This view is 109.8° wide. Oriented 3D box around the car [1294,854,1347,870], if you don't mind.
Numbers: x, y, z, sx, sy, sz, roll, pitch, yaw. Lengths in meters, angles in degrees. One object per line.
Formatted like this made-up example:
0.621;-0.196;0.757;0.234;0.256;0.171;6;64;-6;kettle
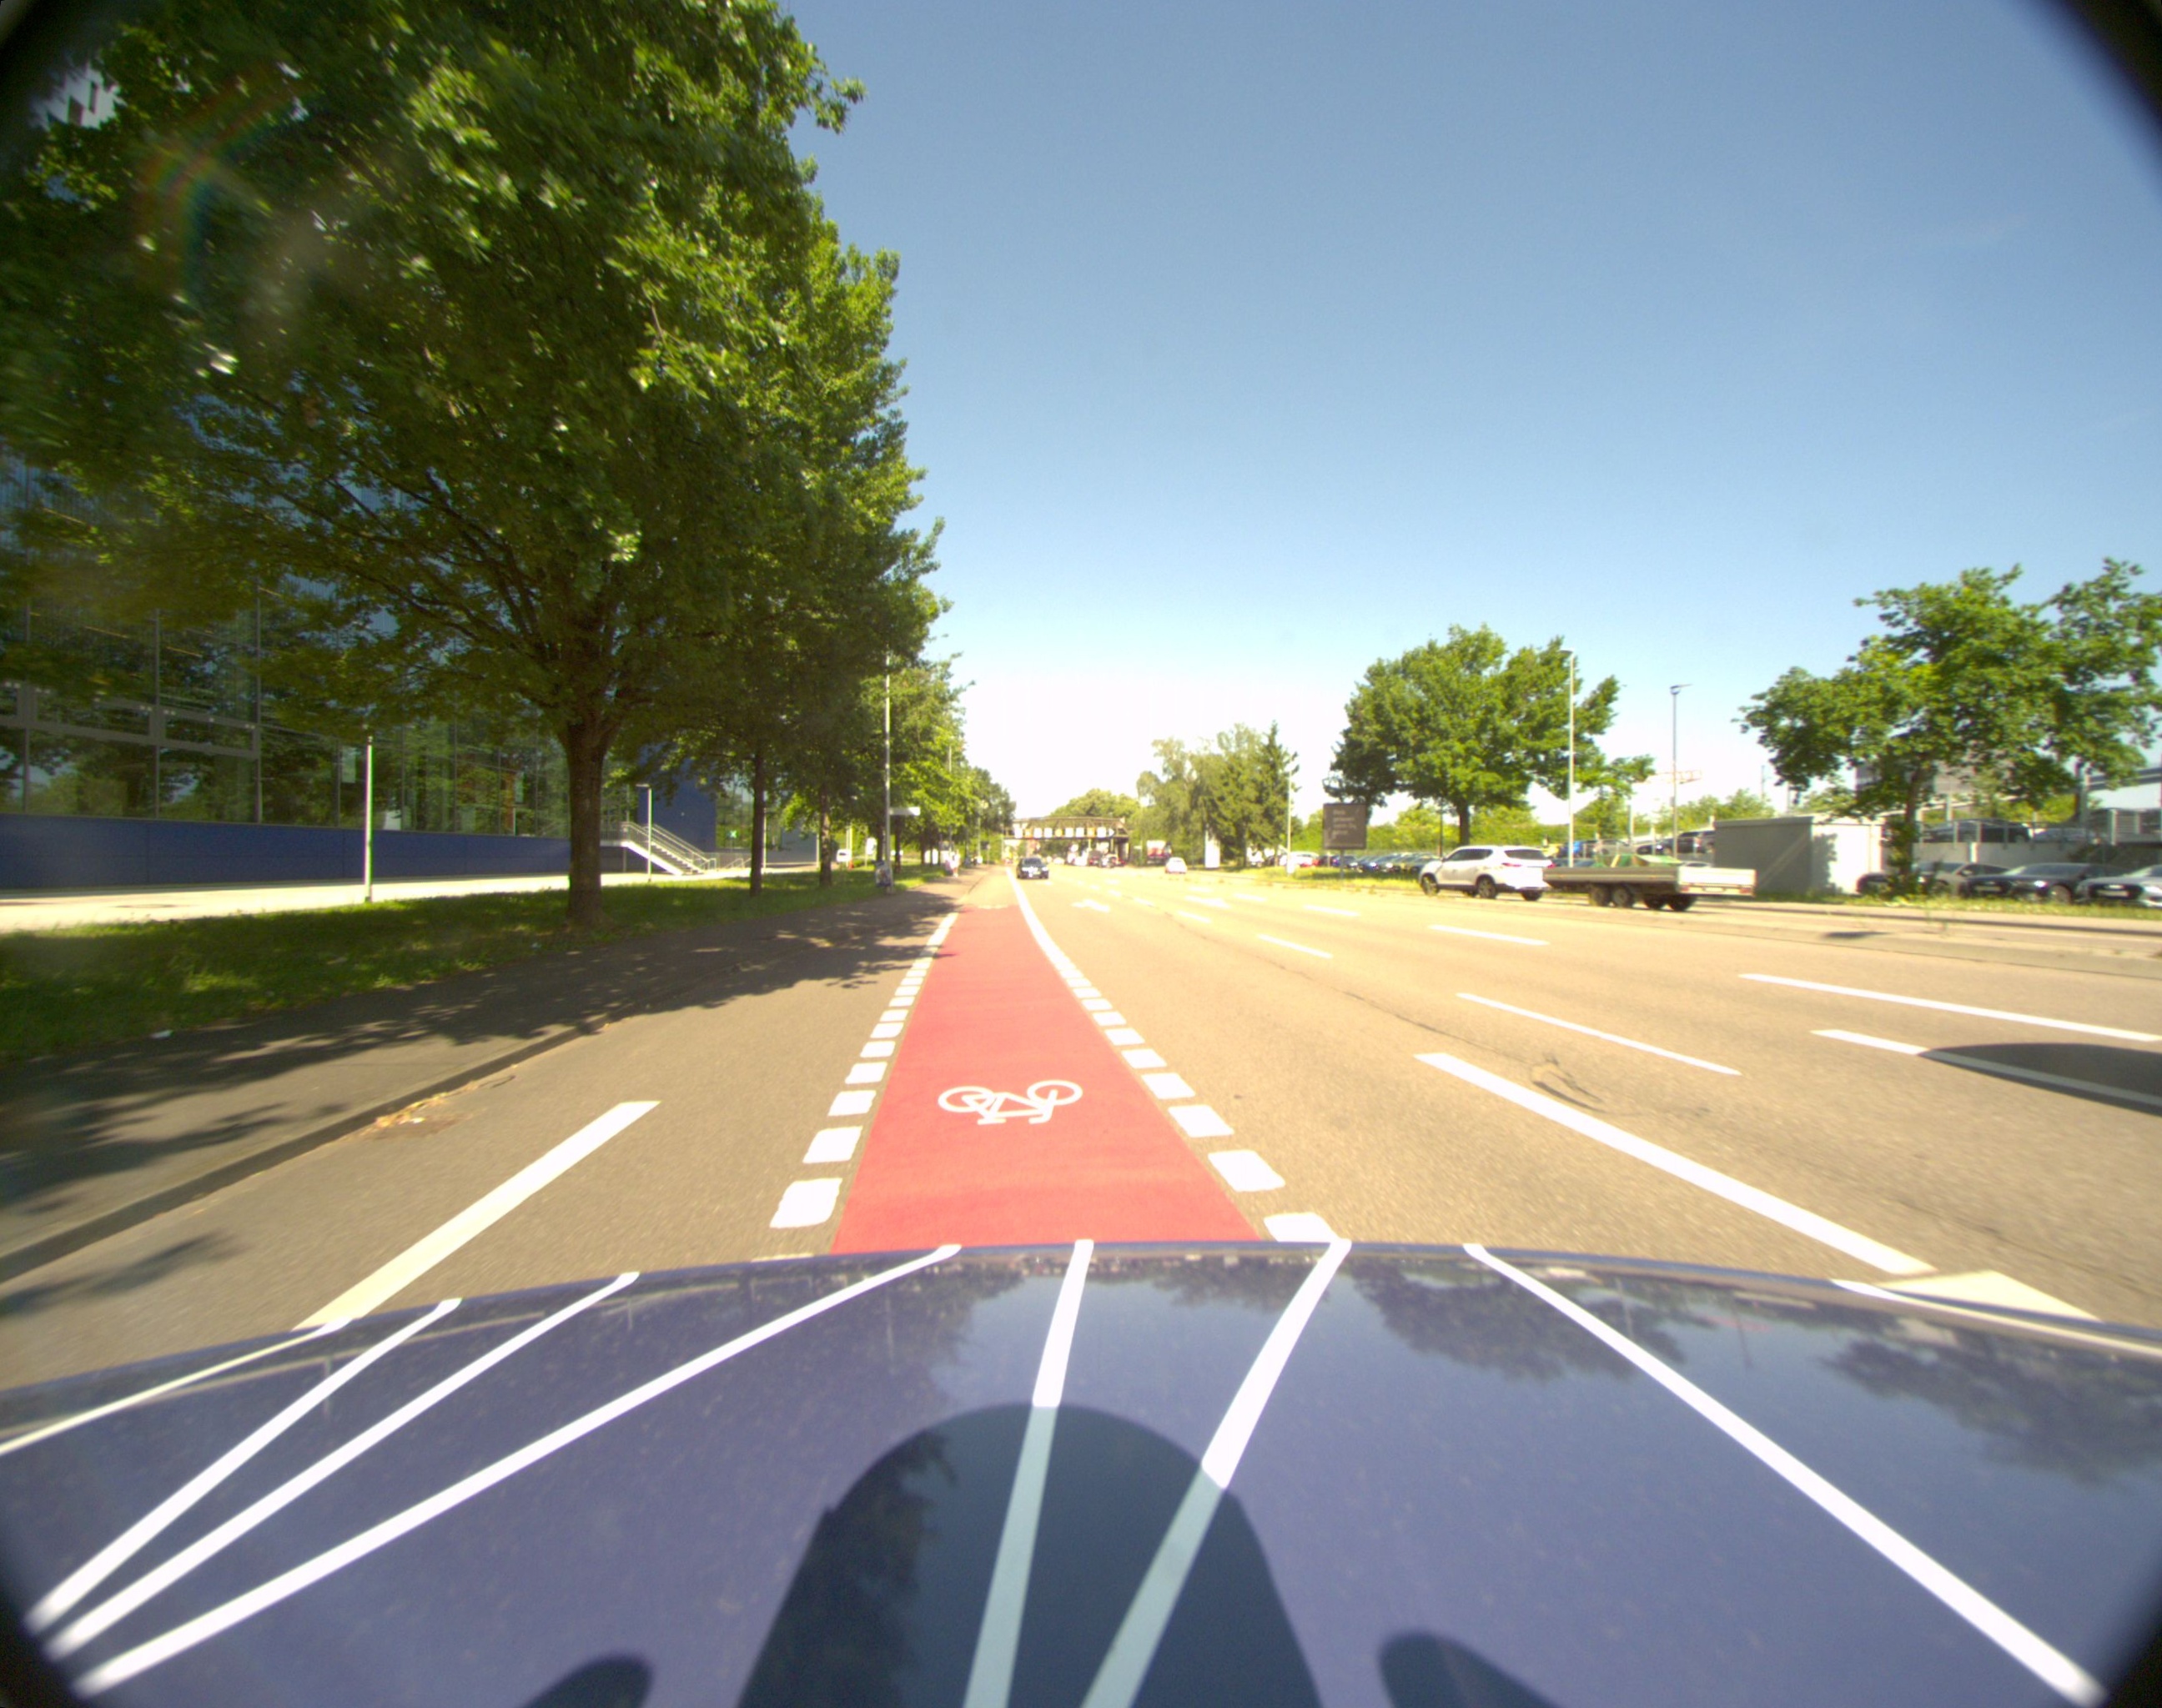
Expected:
22.266;0.721;70.828;4.278;1.495;1.953;0;0;-3;car

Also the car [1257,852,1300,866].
20.886;0.504;80.592;4.097;1.430;1.743;0;0;0;car

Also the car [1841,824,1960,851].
42.484;-0.839;39.453;4.279;1.343;1.953;0;0;-5;car

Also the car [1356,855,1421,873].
24.032;0.776;59.440;4.278;1.343;1.953;0;0;-3;car

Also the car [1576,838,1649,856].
40.159;-0.506;57.484;4.279;1.343;1.953;0;0;-5;car

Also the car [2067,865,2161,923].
27.805;0.988;19.081;3.999;1.368;1.864;1;0;-5;car

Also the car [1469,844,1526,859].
38.563;-0.271;70.424;4.279;1.343;1.953;0;0;-5;car

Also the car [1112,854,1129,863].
6.146;0.683;119.613;1.999;1.405;4.679;1;0;-5;car

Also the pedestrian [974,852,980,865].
-12.471;0.541;90.788;0.649;1.594;0.846;0;0;-5;pedestrian

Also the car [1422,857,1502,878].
24.846;0.880;49.678;4.278;1.343;1.953;0;0;-3;car

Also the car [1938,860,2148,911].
27.523;0.873;21.816;3.999;1.368;1.864;1;0;-5;car

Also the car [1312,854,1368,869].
23.144;0.688;67.920;4.278;1.320;1.953;0;0;-3;car

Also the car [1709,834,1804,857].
41.894;-0.530;47.172;4.279;1.343;1.953;0;0;-5;car

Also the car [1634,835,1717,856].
40.767;-0.562;52.127;4.279;1.343;1.953;0;0;-5;car

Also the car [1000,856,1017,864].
-18.001;1.486;188.847;4.000;2.001;1.999;-2;-1;-9;car

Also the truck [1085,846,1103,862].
2.438;0.084;149.371;2.349;3.070;7.064;0;0;-9;truck

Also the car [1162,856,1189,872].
9.098;0.917;73.114;1.659;1.455;3.547;2;0;-8;car

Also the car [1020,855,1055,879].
-2.978;0.835;51.054;1.912;1.511;4.370;0;0;-9;car

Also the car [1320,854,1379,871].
22.821;0.708;64.720;4.278;1.373;1.953;0;0;-3;car

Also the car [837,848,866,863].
-28.071;0.176;93.116;1.909;1.818;4.181;1;0;5;car

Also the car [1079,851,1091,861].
0.683;0.388;127.310;1.648;1.485;3.827;2;-1;-6;car

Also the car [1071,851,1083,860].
-0.752;0.337;135.903;1.774;1.485;4.176;2;-1;-5;car

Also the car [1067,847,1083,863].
-1.178;0.156;143.565;2.000;2.788;6.933;2;0;-7;car

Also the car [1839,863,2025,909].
27.299;1.003;24.462;3.999;1.368;1.999;1;0;-5;car

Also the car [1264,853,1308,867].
21.125;0.596;78.465;4.097;1.346;1.743;0;1;0;car

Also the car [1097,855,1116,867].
3.124;0.842;94.004;1.788;1.406;3.998;2;0;-6;car

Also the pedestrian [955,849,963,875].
-8.551;0.565;53.330;0.536;1.831;0.727;0;1;-5;pedestrian

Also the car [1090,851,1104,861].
2.978;0.349;143.031;1.990;1.679;4.286;2;-1;-5;car

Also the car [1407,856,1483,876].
24.849;0.799;52.019;4.278;1.343;1.953;0;0;-3;car

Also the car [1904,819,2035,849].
42.774;-0.950;36.645;4.279;1.343;1.953;0;0;-5;car

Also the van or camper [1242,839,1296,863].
20.940;-0.352;84.609;5.395;2.456;1.999;-2;-1;-8;van or camper

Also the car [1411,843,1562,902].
13.575;0.571;25.859;2.000;1.822;4.933;1;0;-8;car

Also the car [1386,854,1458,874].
24.546;0.717;54.740;4.278;1.343;1.953;0;0;-3;car

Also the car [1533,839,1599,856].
39.902;-0.562;62.517;4.279;1.343;1.953;0;0;-5;car

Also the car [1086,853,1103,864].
1.852;0.562;107.819;1.847;1.455;4.997;3;0;-5;car

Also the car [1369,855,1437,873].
24.172;0.730;57.185;4.278;1.343;1.953;0;0;-3;car

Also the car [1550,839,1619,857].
39.947;-0.479;60.300;4.279;1.343;1.953;0;0;-5;car

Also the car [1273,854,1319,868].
21.349;0.687;75.464;4.098;1.285;1.743;0;0;-3;car

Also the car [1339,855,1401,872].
23.706;0.768;62.401;4.278;1.343;1.953;0;0;-3;car

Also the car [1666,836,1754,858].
40.939;-0.448;49.513;4.279;1.343;1.953;0;0;-5;car

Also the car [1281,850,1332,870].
21.694;0.538;73.069;4.278;1.873;1.953;0;0;-3;car

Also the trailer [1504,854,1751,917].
14.322;0.739;20.539;2.000;1.444;5.767;1;0;-8;trailer

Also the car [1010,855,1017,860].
-19.219;0.909;216.194;1.824;1.346;3.996;0;0;-10;car
